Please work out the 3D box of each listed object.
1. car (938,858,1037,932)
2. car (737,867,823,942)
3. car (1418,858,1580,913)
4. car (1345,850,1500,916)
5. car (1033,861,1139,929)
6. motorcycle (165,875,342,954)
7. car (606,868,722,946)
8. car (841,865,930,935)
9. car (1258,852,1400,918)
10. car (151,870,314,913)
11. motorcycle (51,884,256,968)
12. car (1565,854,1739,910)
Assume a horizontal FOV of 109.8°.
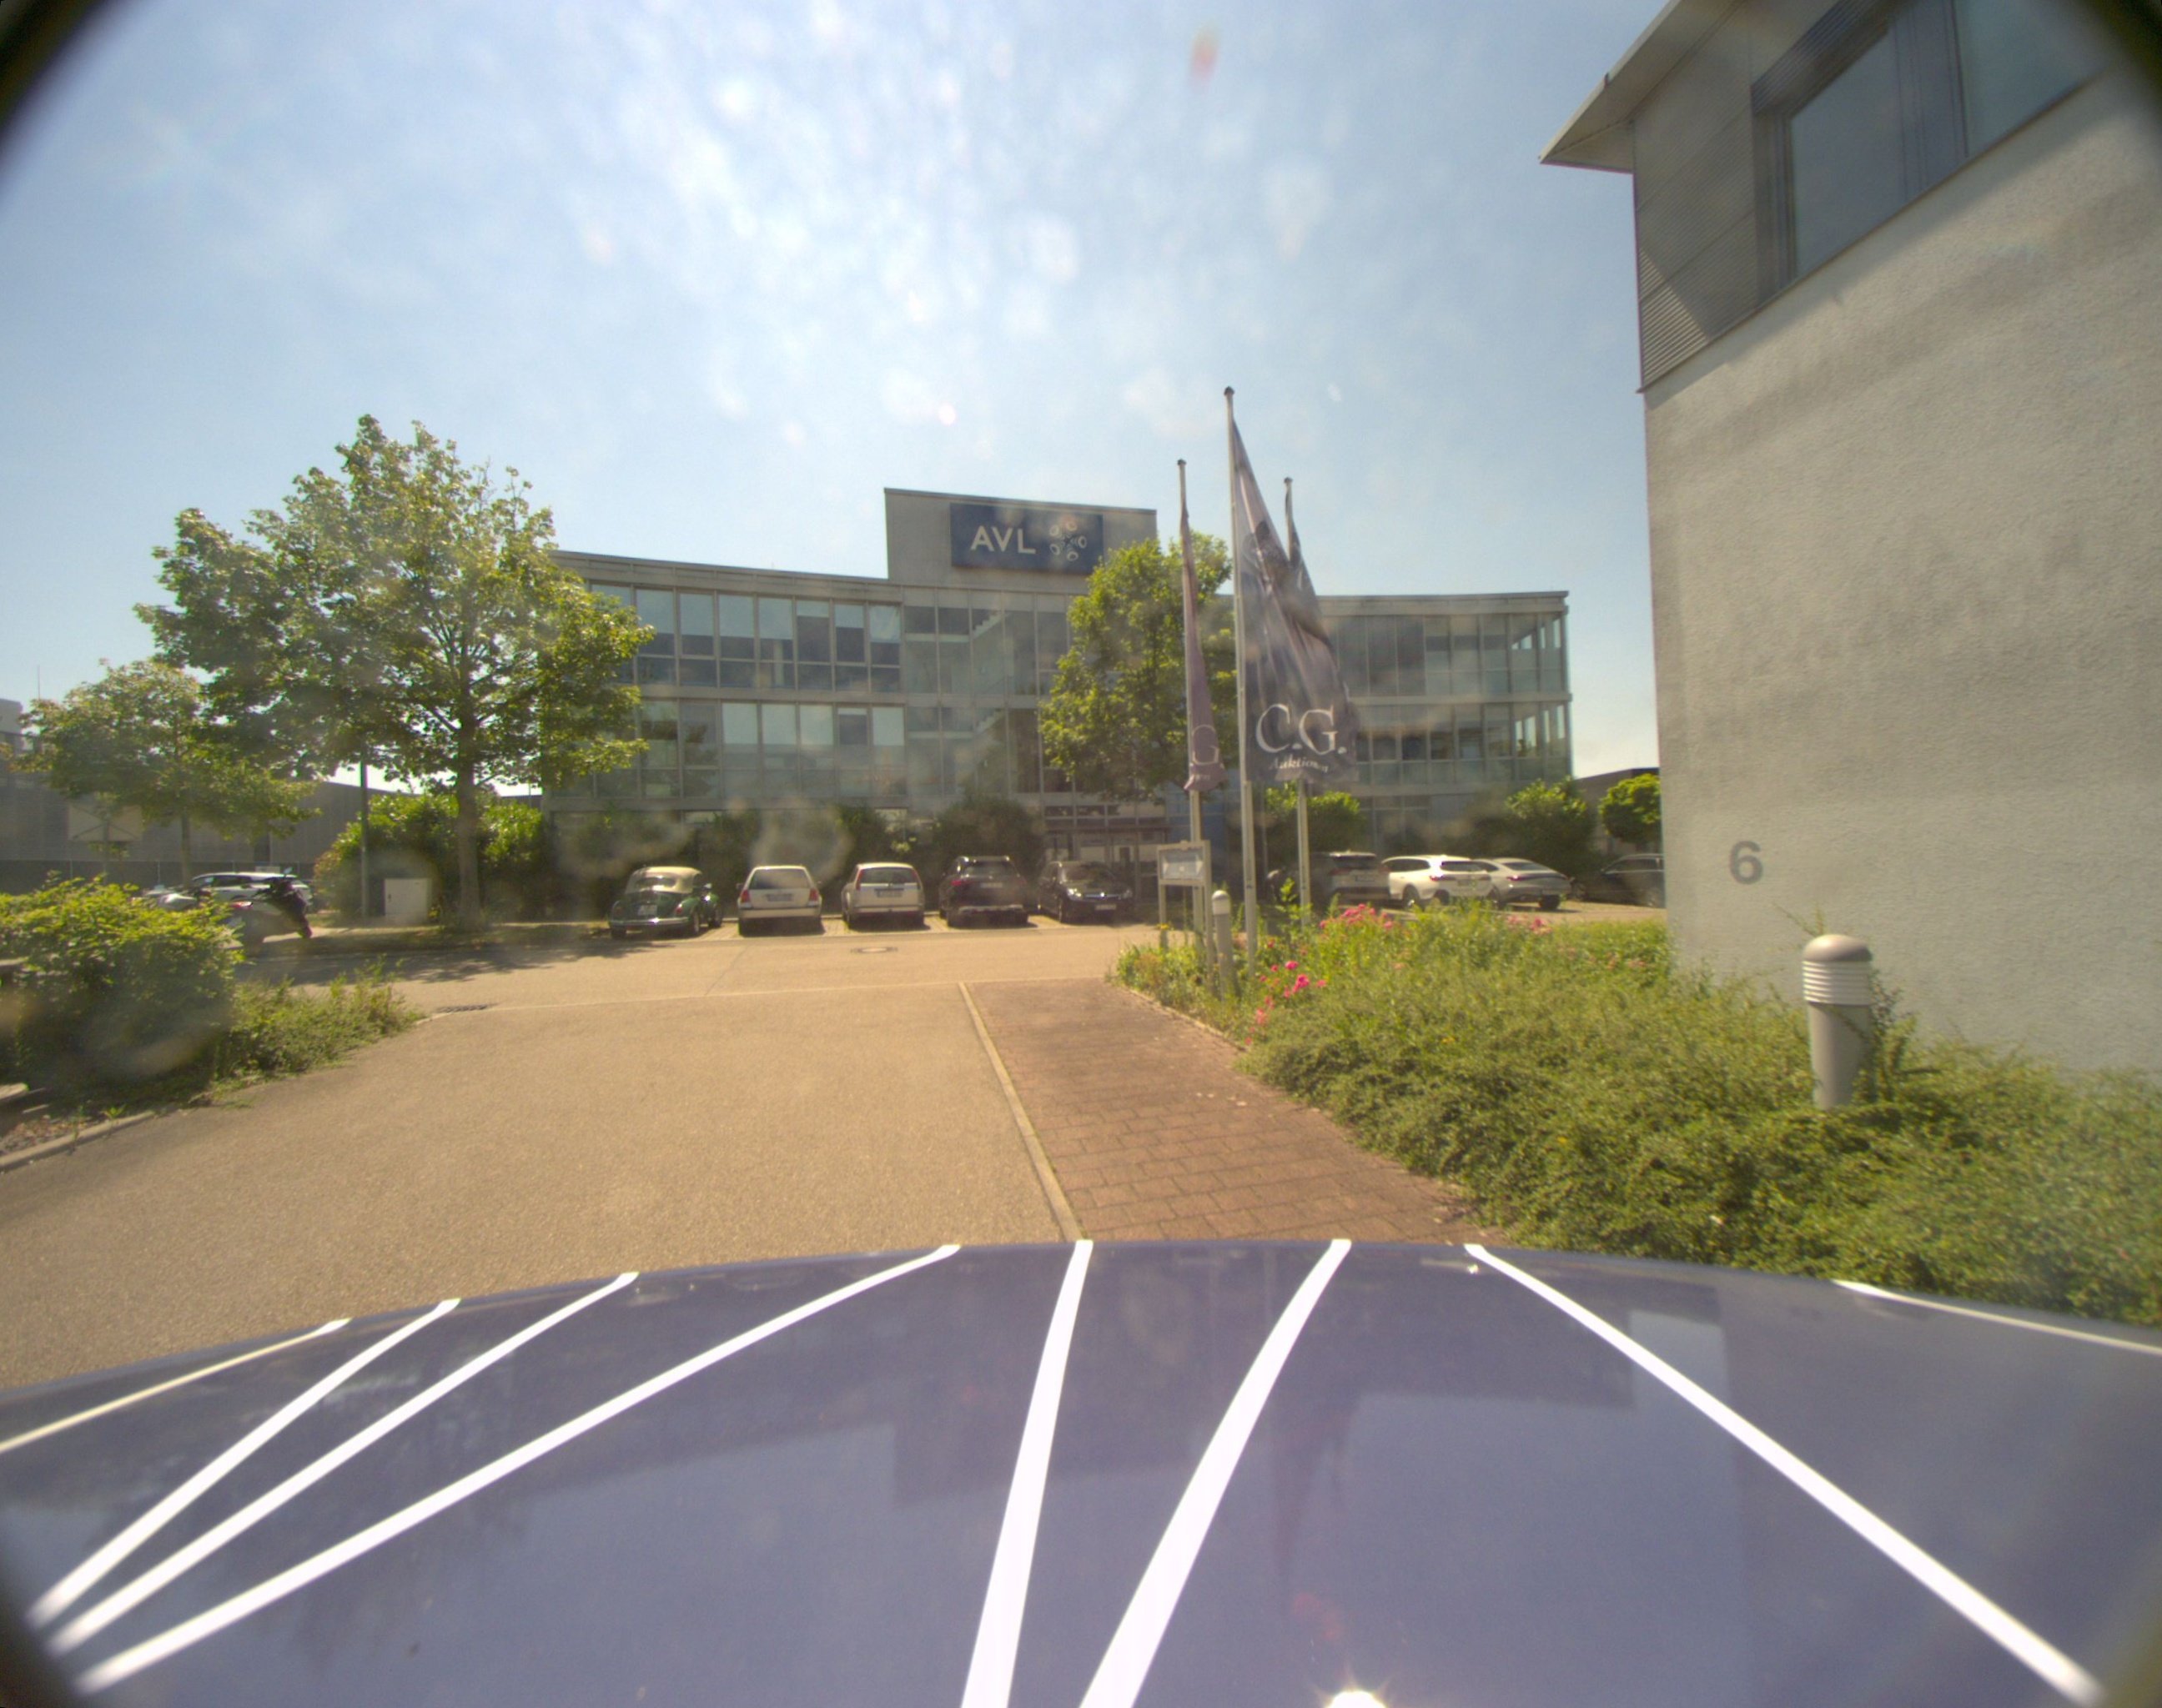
[{"bbox_3d":[-2.442,0.921,18.915,1.941,1.593,3.854,0,0,-15],"label":"car"},{"bbox_3d":[-6.816,1.063,17.366,1.645,1.443,3.594,0,0,-20],"label":"car"},{"bbox_3d":[11.708,0.818,21.658,1.753,1.392,4.167,-1,0,-12],"label":"car"},{"bbox_3d":[9.344,0.740,21.200,1.834,1.628,4.167,-1,0,-12],"label":"car"},{"bbox_3d":[0.003,0.962,19.655,1.732,1.475,4.392,-1,0,-13],"label":"car"},{"bbox_3d":[-15.621,1.080,14.501,0.874,1.252,2.831,-1,1,-15],"label":"motorcycle"},{"bbox_3d":[-8.999,1.070,16.644,1.524,1.437,3.414,0,0,-17],"label":"car"},{"bbox_3d":[-4.838,1.027,18.492,1.734,1.443,3.594,-1,0,-20],"label":"car"},{"bbox_3d":[6.721,0.779,21.140,1.834,1.628,4.166,-1,0,-14],"label":"car"},{"bbox_3d":[-32.720,1.426,29.390,4.410,1.467,1.781,-1,0,3],"label":"car"},{"bbox_3d":[-16.861,1.245,13.982,0.874,1.252,2.831,-1,1,-15],"label":"motorcycle"},{"bbox_3d":[16.554,0.753,22.336,1.752,1.416,4.169,-1,1,-5],"label":"car"}]
